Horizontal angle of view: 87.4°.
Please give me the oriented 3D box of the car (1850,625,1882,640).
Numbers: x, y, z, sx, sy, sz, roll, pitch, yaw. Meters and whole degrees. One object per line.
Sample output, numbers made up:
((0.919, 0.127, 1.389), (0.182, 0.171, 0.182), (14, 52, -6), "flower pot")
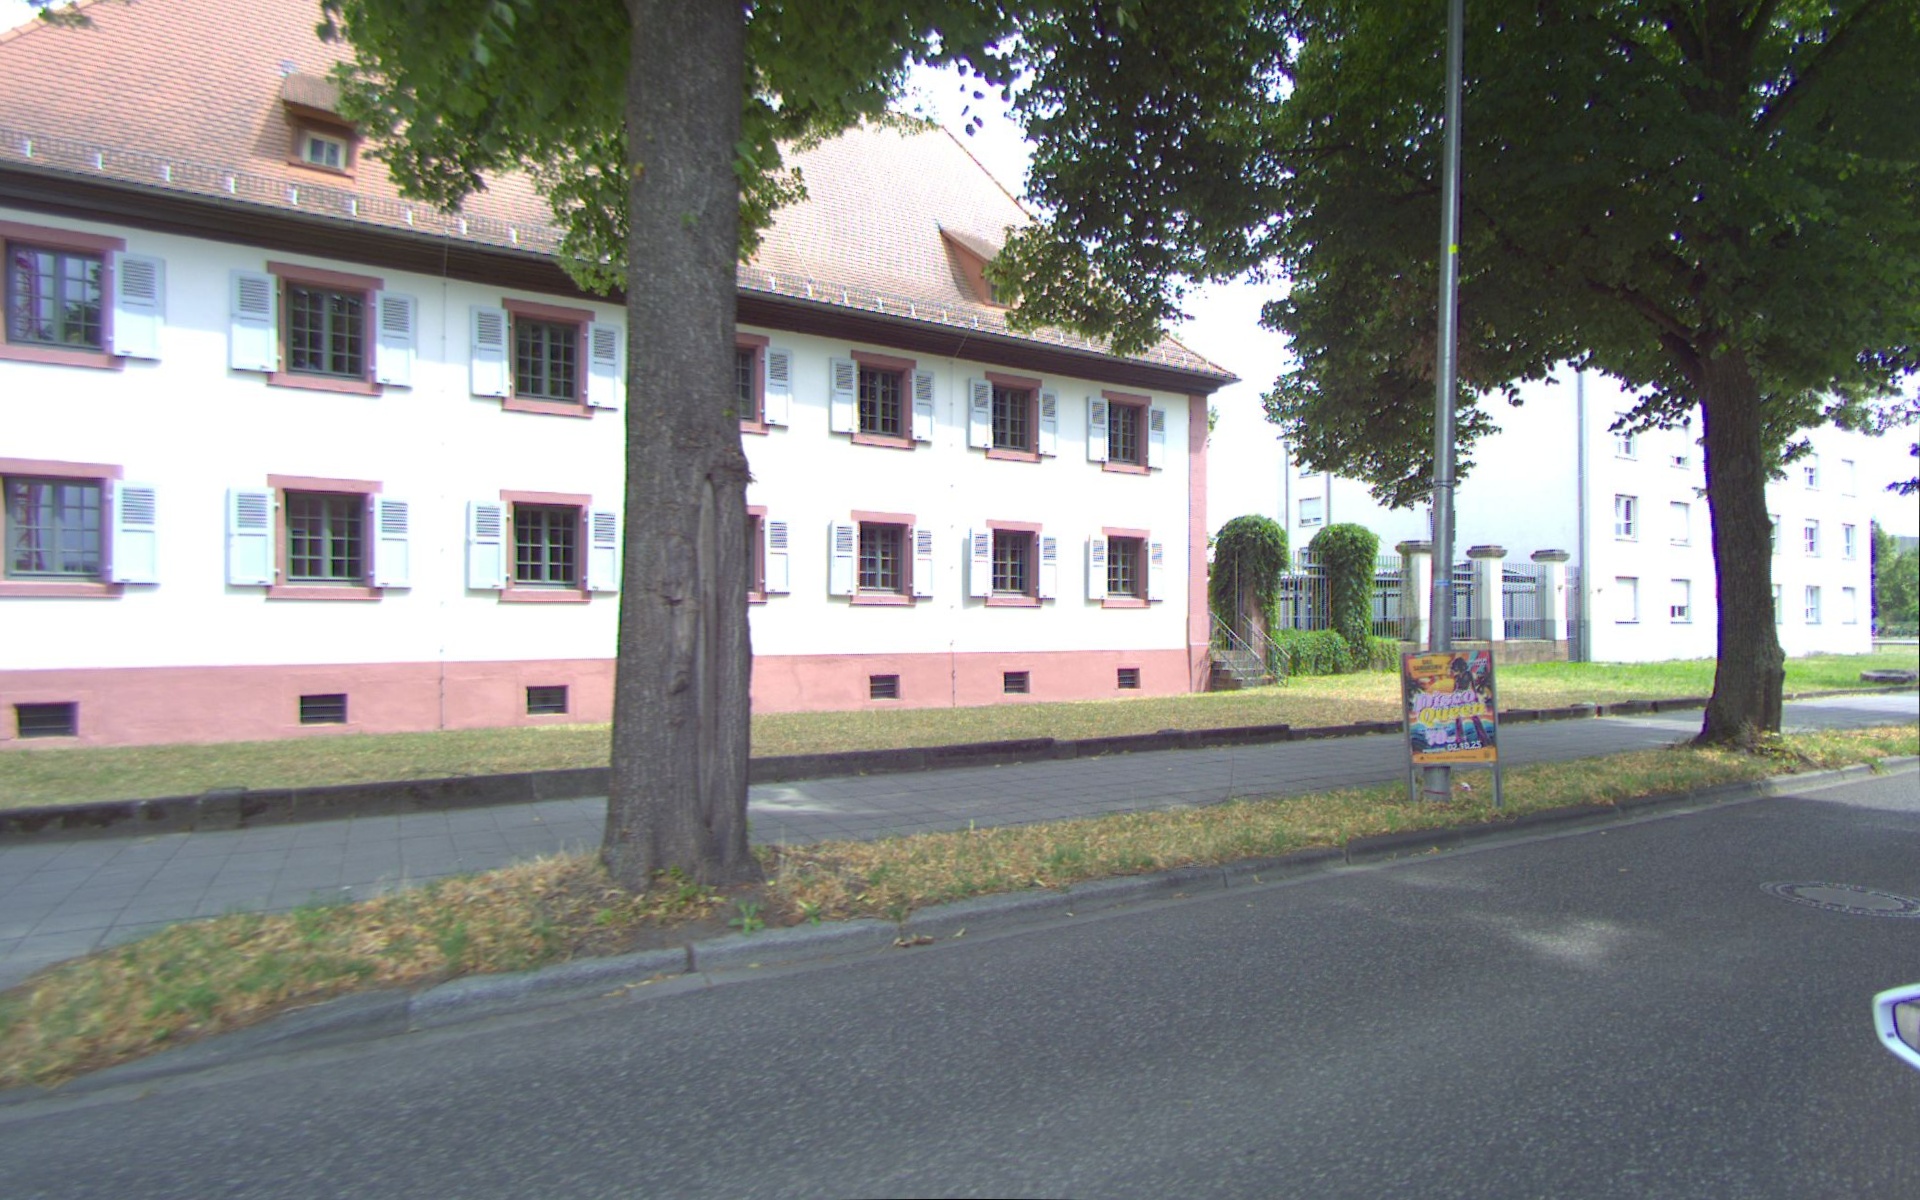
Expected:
((103.963, 3.719, 115.298), (1.858, 1.683, 3.993), (-2, -3, 30), "car")
